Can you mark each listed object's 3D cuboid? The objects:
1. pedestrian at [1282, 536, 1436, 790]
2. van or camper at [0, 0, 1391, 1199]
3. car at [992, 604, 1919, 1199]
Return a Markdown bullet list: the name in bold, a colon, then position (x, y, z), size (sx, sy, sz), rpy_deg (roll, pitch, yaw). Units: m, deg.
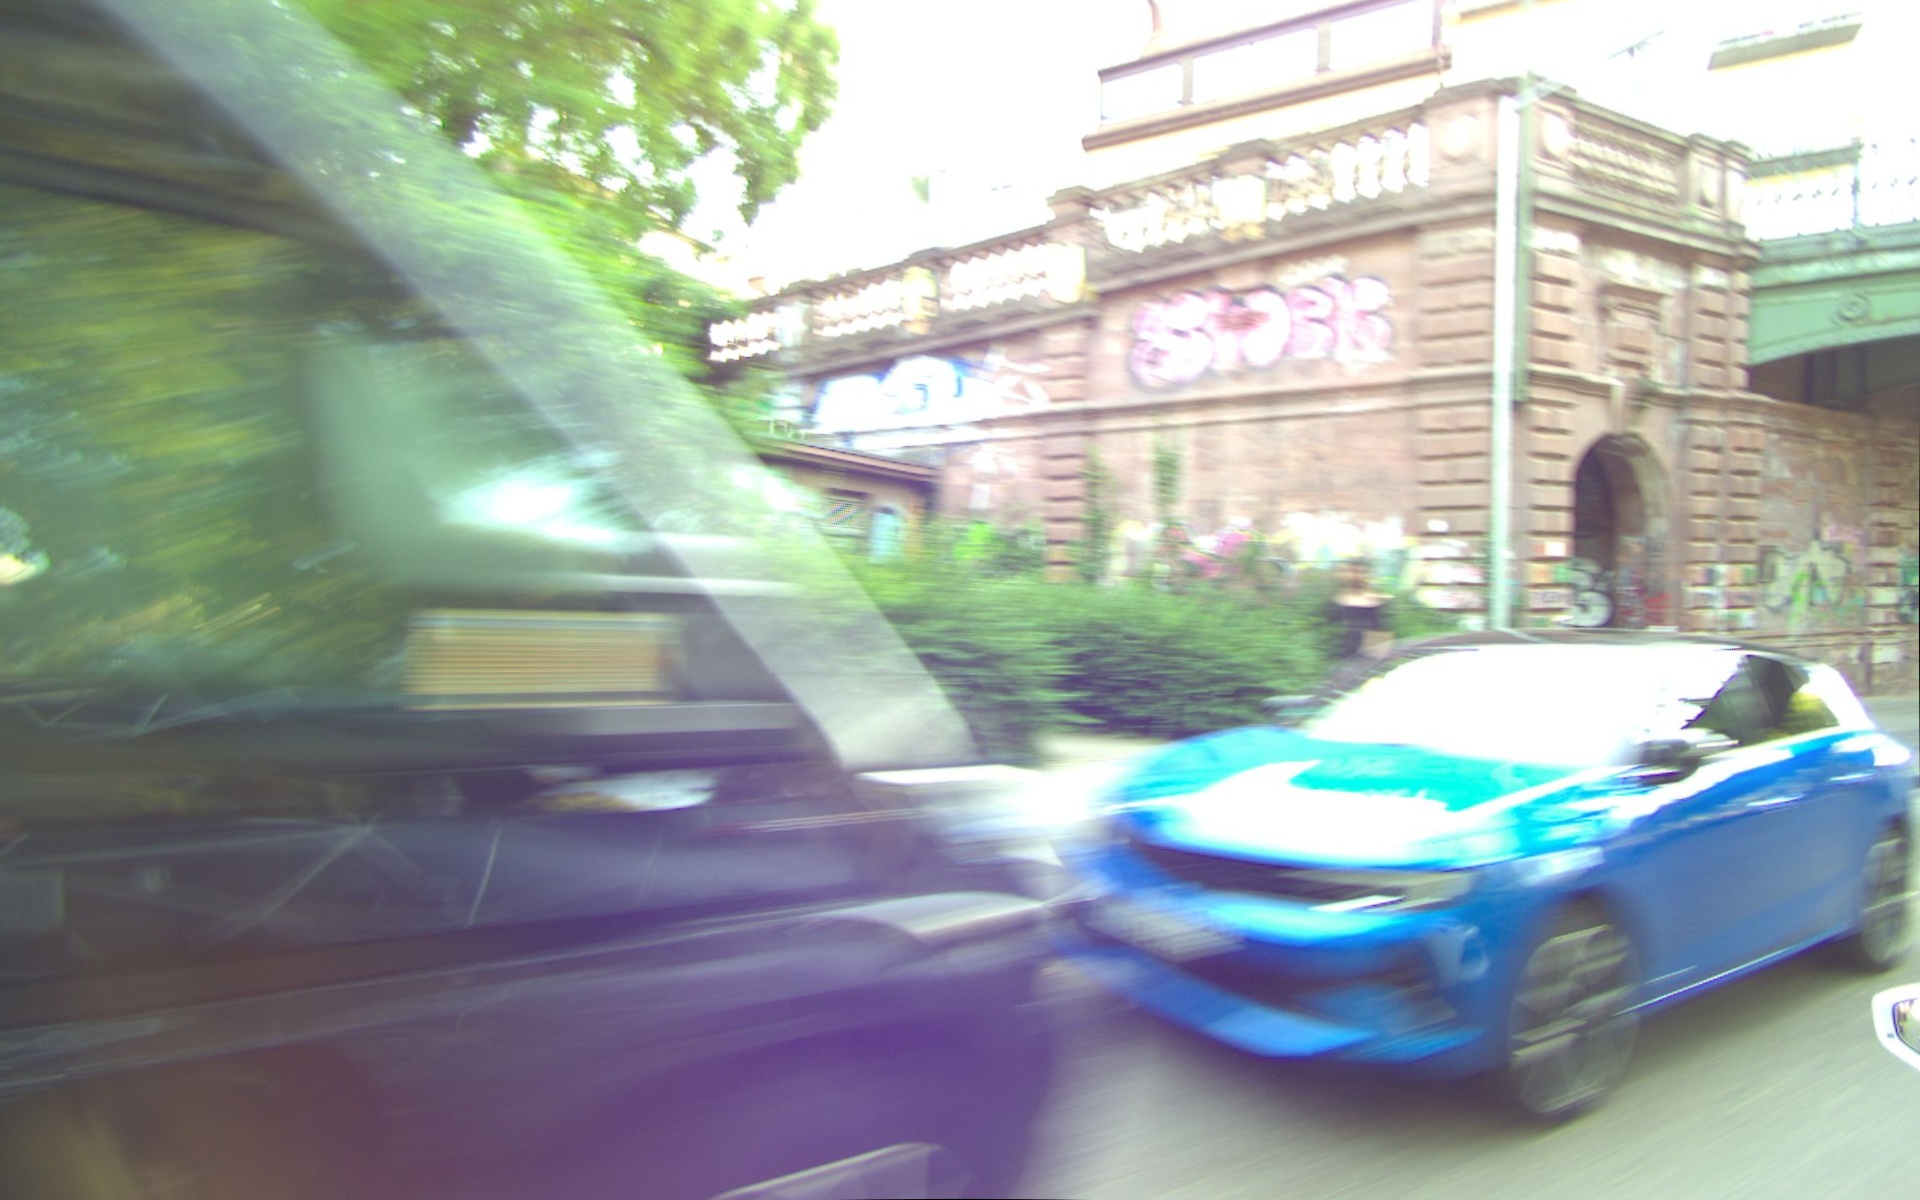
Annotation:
- **pedestrian**: position (3.274, 0.483, 8.234), size (1.036, 1.940, 0.633), rpy_deg (1, 2, -34)
- **van or camper**: position (-2.496, 0.085, 1.255), size (6.347, 2.557, 2.224), rpy_deg (1, 1, -31)
- **car**: position (2.431, 0.833, 4.296), size (4.326, 1.486, 1.735), rpy_deg (1, 1, -31)
